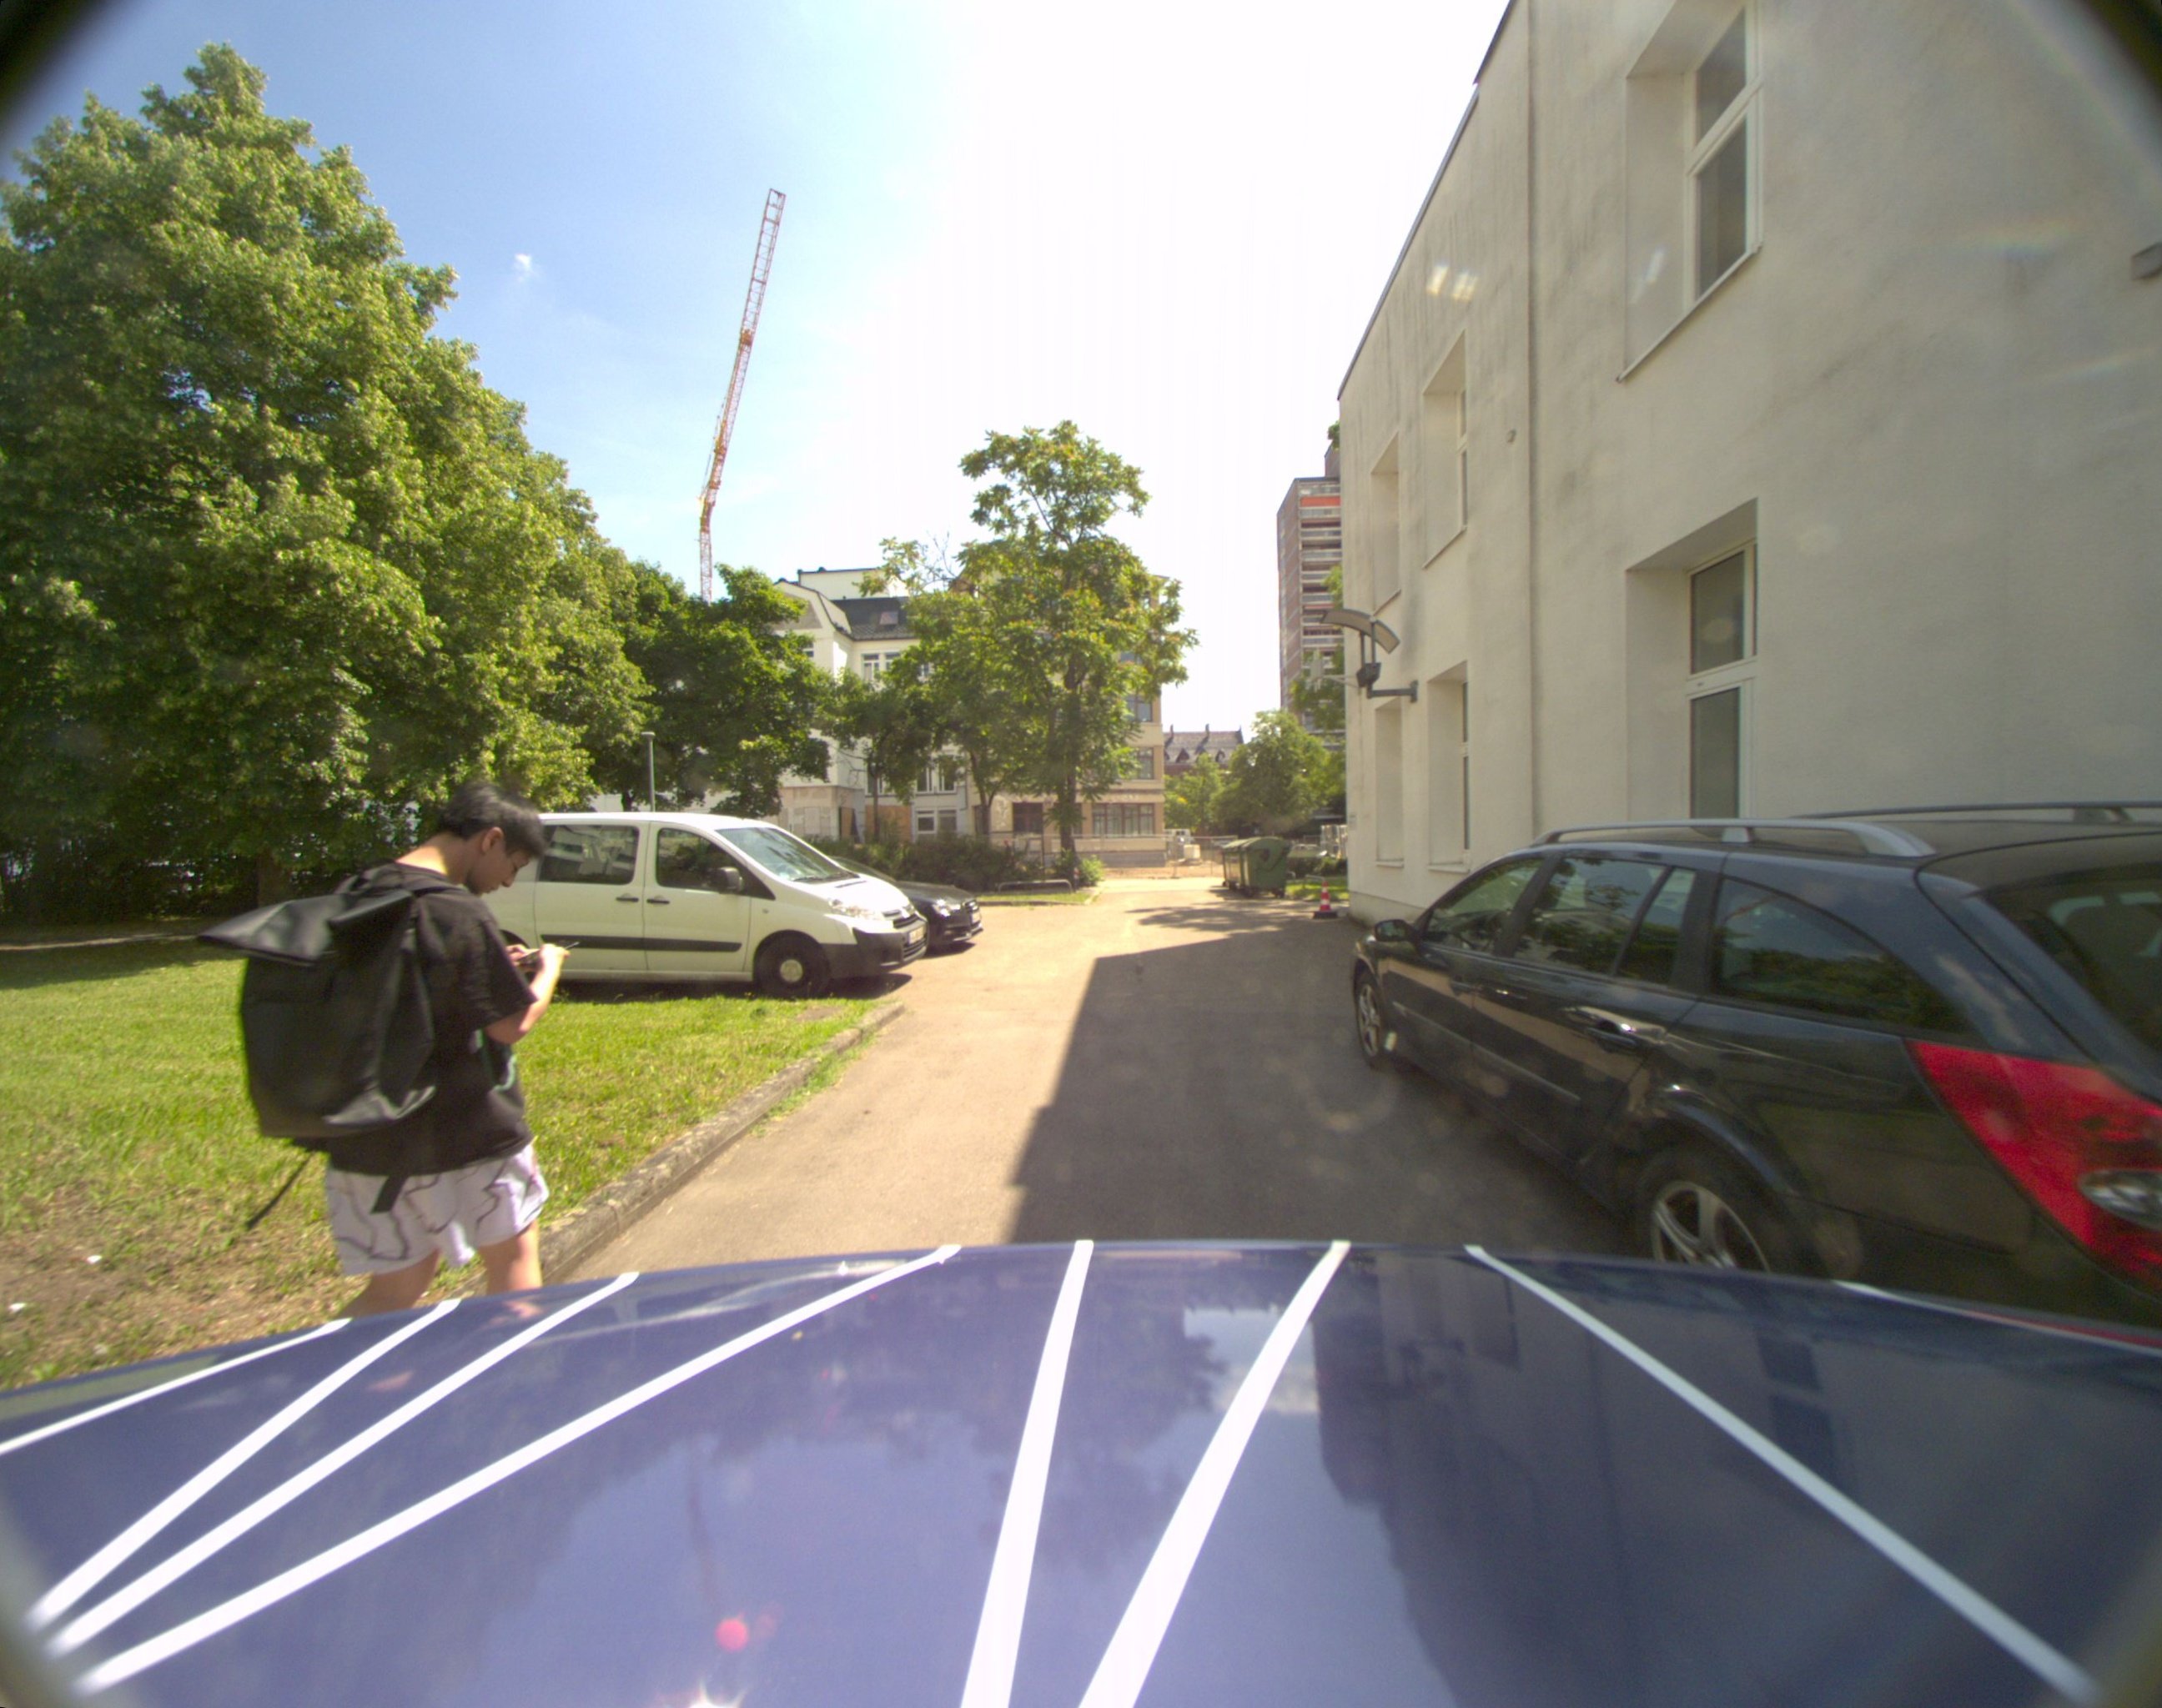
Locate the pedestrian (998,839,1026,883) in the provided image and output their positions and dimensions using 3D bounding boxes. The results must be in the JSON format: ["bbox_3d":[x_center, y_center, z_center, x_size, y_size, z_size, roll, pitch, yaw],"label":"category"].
[{"bbox_3d":[-2.904,0.281,31.902,0.968,1.809,0.869,-1,1,-15],"label":"pedestrian"}]

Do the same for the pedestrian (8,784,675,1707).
[{"bbox_3d":[-1.583,0.750,1.791,0.759,1.745,0.751,-1,1,5],"label":"pedestrian"}]

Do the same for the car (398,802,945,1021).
[{"bbox_3d":[-4.097,0.548,8.145,4.769,2.002,2.000,-1,2,5],"label":"car"}]

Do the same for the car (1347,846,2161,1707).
[{"bbox_3d":[2.525,0.701,2.973,1.758,1.421,4.387,-1,1,5],"label":"car"}]

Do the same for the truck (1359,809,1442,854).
[{"bbox_3d":[30.541,-2.123,73.209,2.750,3.983,9.736,-2,1,-7],"label":"truck"}]

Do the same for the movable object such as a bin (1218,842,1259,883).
[{"bbox_3d":[5.468,0.284,26.301,1.113,1.386,1.162,0,1,27],"label":"movable object such as a bin"}]

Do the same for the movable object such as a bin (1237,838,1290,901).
[{"bbox_3d":[4.429,0.348,18.533,1.046,1.471,1.410,-1,1,5],"label":"movable object such as a bin"}]

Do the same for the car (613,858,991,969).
[{"bbox_3d":[-3.743,0.784,10.723,4.621,1.344,1.834,-1,1,4],"label":"car"}]

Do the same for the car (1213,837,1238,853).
[{"bbox_3d":[19.154,-1.243,100.483,1.994,2.002,4.007,-1,1,32],"label":"car"}]

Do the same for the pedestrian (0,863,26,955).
[{"bbox_3d":[-18.735,0.940,12.810,0.750,1.555,0.740,-1,1,-6],"label":"pedestrian"}]

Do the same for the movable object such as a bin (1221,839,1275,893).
[{"bbox_3d":[4.686,0.318,21.404,1.096,1.471,1.359,-1,1,-6],"label":"movable object such as a bin"}]

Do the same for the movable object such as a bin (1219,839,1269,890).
[{"bbox_3d":[4.855,0.304,22.751,1.207,1.471,1.325,-1,1,1],"label":"movable object such as a bin"}]

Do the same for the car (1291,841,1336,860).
[{"bbox_3d":[18.574,-0.265,60.842,1.624,1.431,3.577,-1,1,-20],"label":"car"}]

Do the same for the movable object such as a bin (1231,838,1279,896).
[{"bbox_3d":[4.570,0.333,20.020,1.046,1.471,1.262,-1,1,5],"label":"movable object such as a bin"}]
